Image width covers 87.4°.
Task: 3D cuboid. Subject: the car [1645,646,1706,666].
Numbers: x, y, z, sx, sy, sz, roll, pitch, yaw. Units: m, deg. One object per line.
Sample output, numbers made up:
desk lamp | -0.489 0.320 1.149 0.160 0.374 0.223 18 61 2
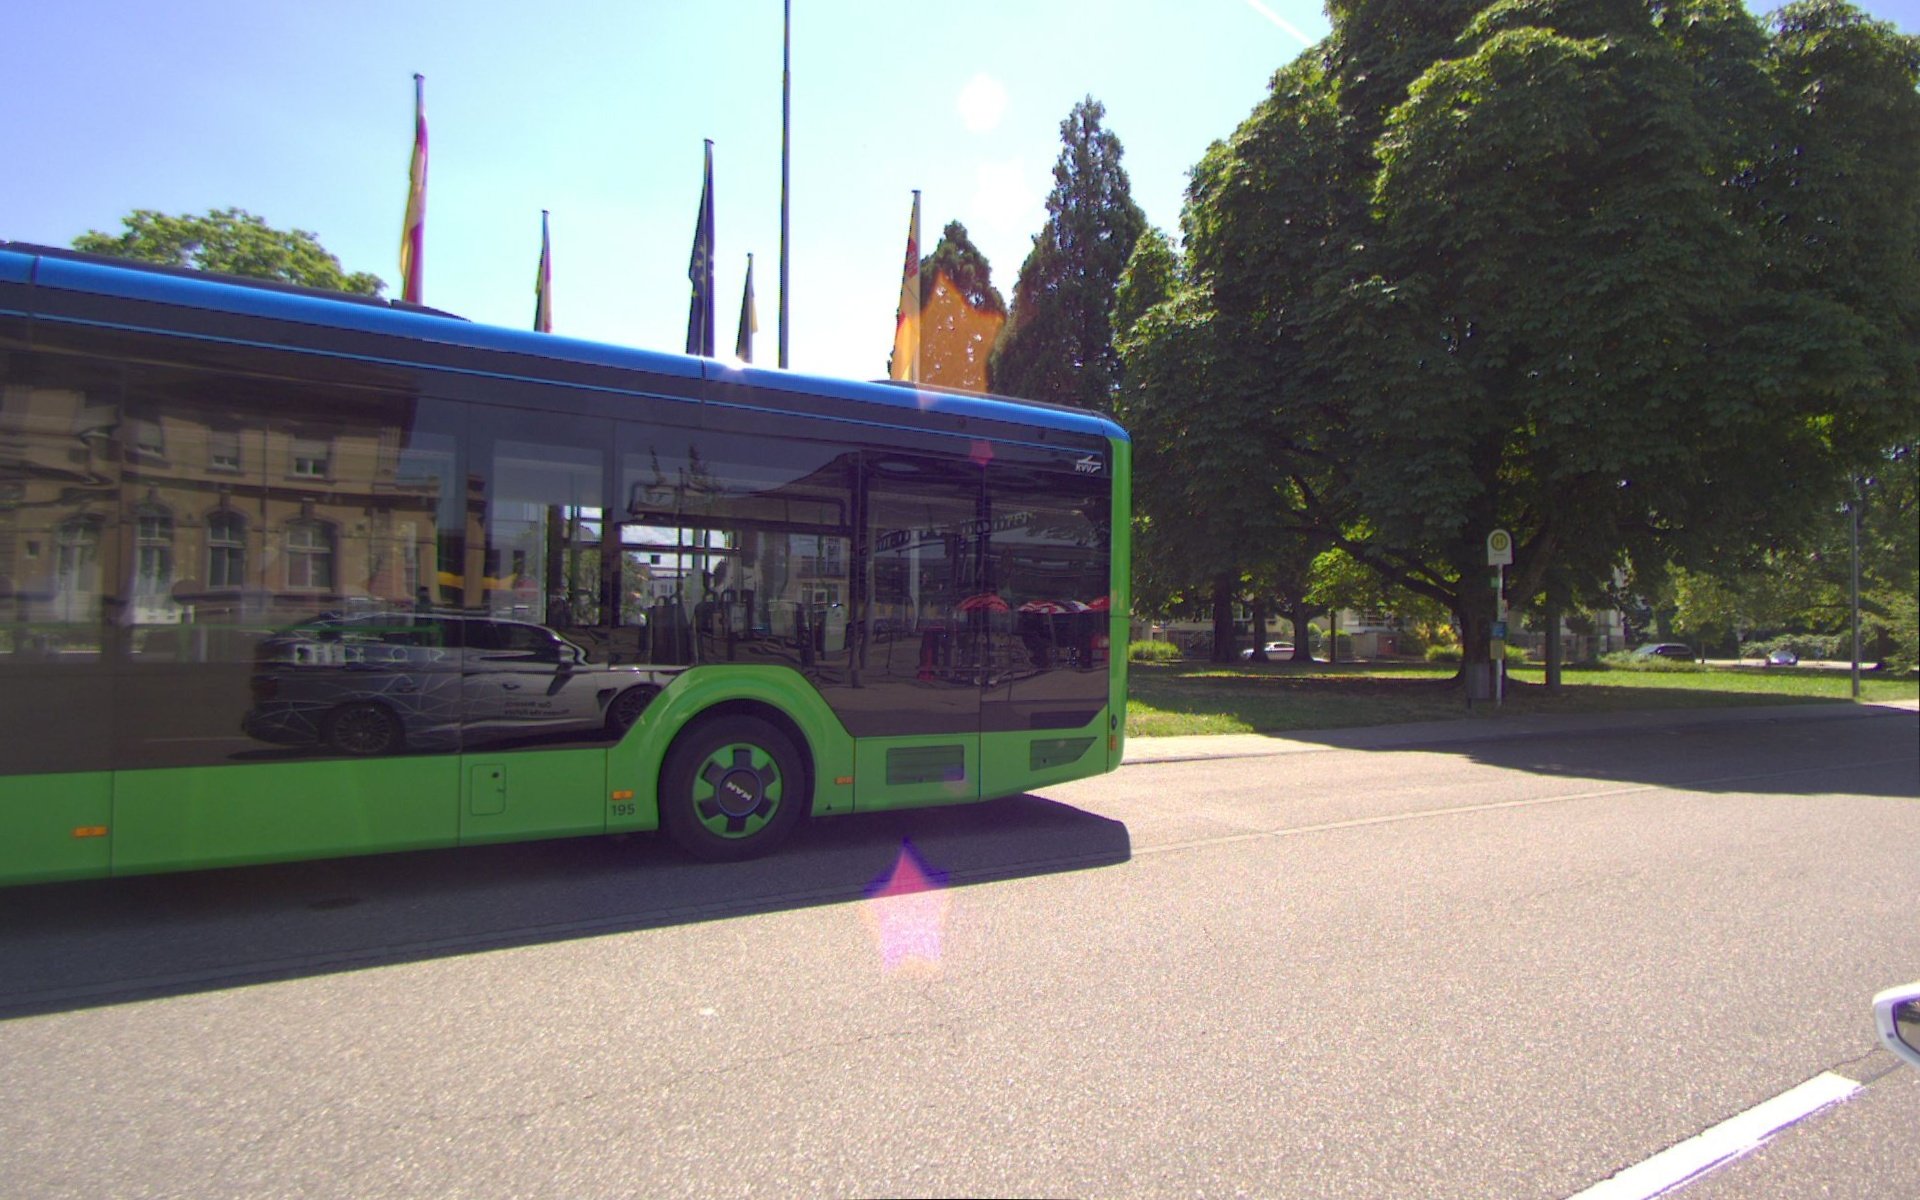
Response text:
car | 51.462 4.031 72.227 3.739 1.429 1.551 1 -2 -15

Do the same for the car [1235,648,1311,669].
car | 22.070 4.142 70.918 4.801 1.367 1.989 1 -2 -13

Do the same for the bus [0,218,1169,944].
bus | -4.276 -0.042 6.296 12.280 3.326 2.795 2 -2 -31

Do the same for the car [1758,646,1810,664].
car | 63.339 4.238 77.172 3.941 1.328 1.809 2 -2 -29
